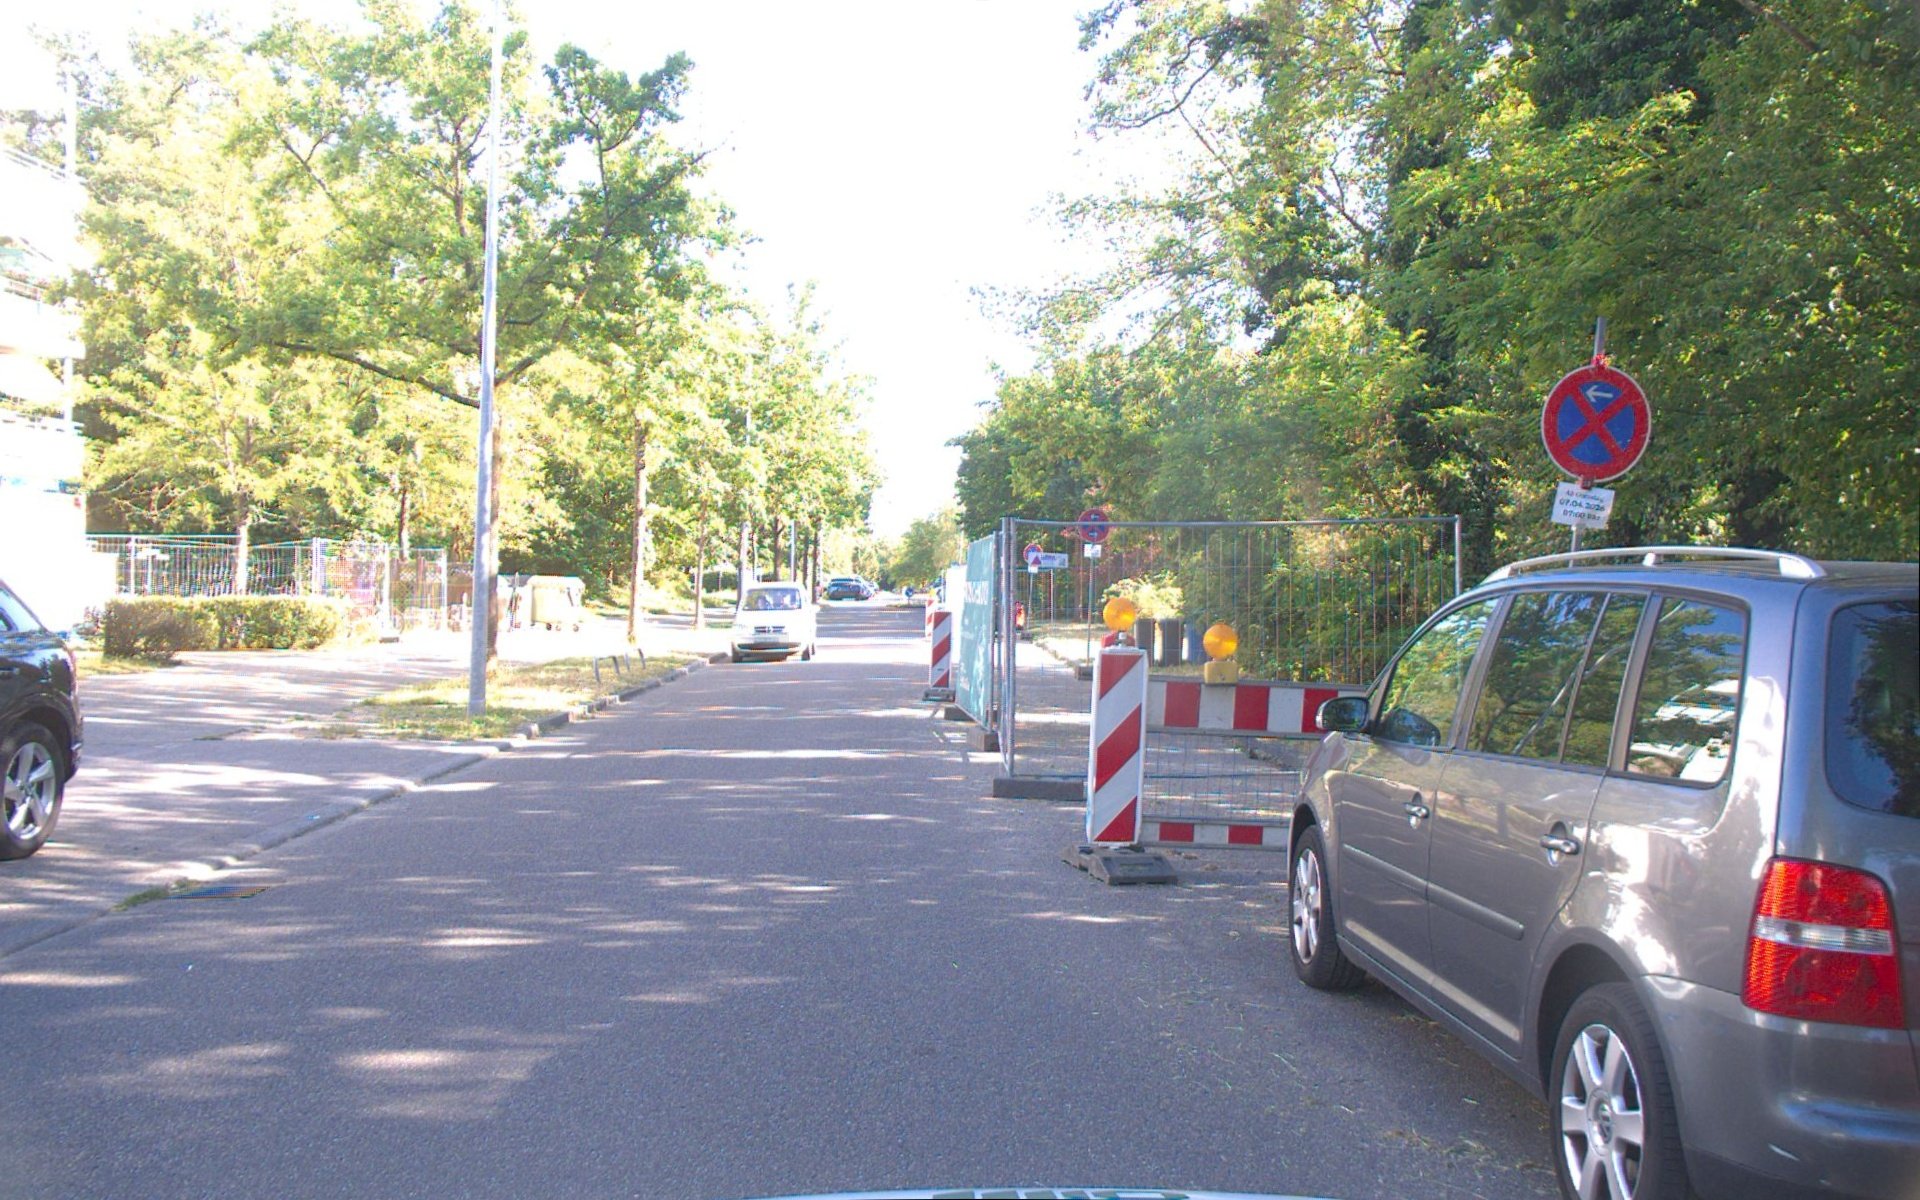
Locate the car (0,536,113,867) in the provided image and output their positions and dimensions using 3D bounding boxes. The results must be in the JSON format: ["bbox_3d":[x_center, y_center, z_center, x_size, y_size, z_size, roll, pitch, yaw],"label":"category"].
[{"bbox_3d":[-5.591,0.475,7.136,1.740,1.650,4.219,3,0,-2],"label":"car"}]

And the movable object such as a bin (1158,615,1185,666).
[{"bbox_3d":[3.797,0.726,29.734,0.404,0.885,0.484,-1,0,-1],"label":"movable object such as a bin"}]

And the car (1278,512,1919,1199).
[{"bbox_3d":[2.305,0.673,5.090,1.645,1.650,4.135,2,0,-3],"label":"car"}]

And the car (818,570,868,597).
[{"bbox_3d":[-12.411,-1.754,174.757,5.101,2.666,2.290,3,0,-7],"label":"car"}]

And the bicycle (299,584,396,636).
[{"bbox_3d":[-12.649,0.215,34.191,1.807,1.045,0.399,1,-1,-15],"label":"bicycle"}]

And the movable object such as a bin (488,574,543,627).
[{"bbox_3d":[-12.478,0.001,46.369,1.132,1.460,1.257,0,0,-35],"label":"movable object such as a bin"}]

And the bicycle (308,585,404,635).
[{"bbox_3d":[-12.964,0.212,35.539,1.882,1.045,0.399,1,-1,-15],"label":"bicycle"}]

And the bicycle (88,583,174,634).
[{"bbox_3d":[-17.674,0.180,35.273,1.659,1.045,0.401,1,-1,4],"label":"bicycle"}]

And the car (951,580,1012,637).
[{"bbox_3d":[0.743,0.253,53.435,1.772,1.679,4.422,3,0,2],"label":"car"}]

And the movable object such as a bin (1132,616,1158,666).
[{"bbox_3d":[3.317,0.733,29.671,0.404,0.885,0.484,-1,0,-1],"label":"movable object such as a bin"}]

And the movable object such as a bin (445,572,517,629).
[{"bbox_3d":[-12.599,0.007,43.511,1.244,1.460,1.324,1,0,26],"label":"movable object such as a bin"}]

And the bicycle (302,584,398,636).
[{"bbox_3d":[-12.770,0.215,34.659,1.828,1.045,0.399,1,-1,-15],"label":"bicycle"}]

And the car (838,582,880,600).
[{"bbox_3d":[-10.081,-0.892,165.882,4.023,1.604,1.958,3,0,0],"label":"car"}]

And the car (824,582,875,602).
[{"bbox_3d":[-9.977,-0.687,149.583,4.227,1.604,2.047,3,0,5],"label":"car"}]

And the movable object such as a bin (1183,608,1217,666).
[{"bbox_3d":[4.305,0.651,29.690,0.508,1.017,0.608,-1,0,-1],"label":"movable object such as a bin"}]

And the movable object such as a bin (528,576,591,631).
[{"bbox_3d":[-10.831,0.090,44.780,1.242,1.460,1.182,1,0,14],"label":"movable object such as a bin"}]

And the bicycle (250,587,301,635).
[{"bbox_3d":[-15.065,0.244,36.441,0.391,1.045,1.700,1,0,1],"label":"bicycle"}]

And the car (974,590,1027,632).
[{"bbox_3d":[1.452,0.369,60.267,1.628,1.399,4.153,3,0,-2],"label":"car"}]

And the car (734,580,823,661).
[{"bbox_3d":[-3.863,0.405,35.655,1.626,1.624,4.006,1,0,-3],"label":"car"}]

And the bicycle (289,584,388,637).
[{"bbox_3d":[-12.661,0.213,33.717,1.824,1.045,0.399,1,-1,-15],"label":"bicycle"}]

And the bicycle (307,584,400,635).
[{"bbox_3d":[-12.855,0.211,35.078,1.807,1.045,0.399,1,-1,-15],"label":"bicycle"}]

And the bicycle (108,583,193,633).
[{"bbox_3d":[-17.587,0.178,35.952,1.659,1.045,0.401,1,-1,4],"label":"bicycle"}]
